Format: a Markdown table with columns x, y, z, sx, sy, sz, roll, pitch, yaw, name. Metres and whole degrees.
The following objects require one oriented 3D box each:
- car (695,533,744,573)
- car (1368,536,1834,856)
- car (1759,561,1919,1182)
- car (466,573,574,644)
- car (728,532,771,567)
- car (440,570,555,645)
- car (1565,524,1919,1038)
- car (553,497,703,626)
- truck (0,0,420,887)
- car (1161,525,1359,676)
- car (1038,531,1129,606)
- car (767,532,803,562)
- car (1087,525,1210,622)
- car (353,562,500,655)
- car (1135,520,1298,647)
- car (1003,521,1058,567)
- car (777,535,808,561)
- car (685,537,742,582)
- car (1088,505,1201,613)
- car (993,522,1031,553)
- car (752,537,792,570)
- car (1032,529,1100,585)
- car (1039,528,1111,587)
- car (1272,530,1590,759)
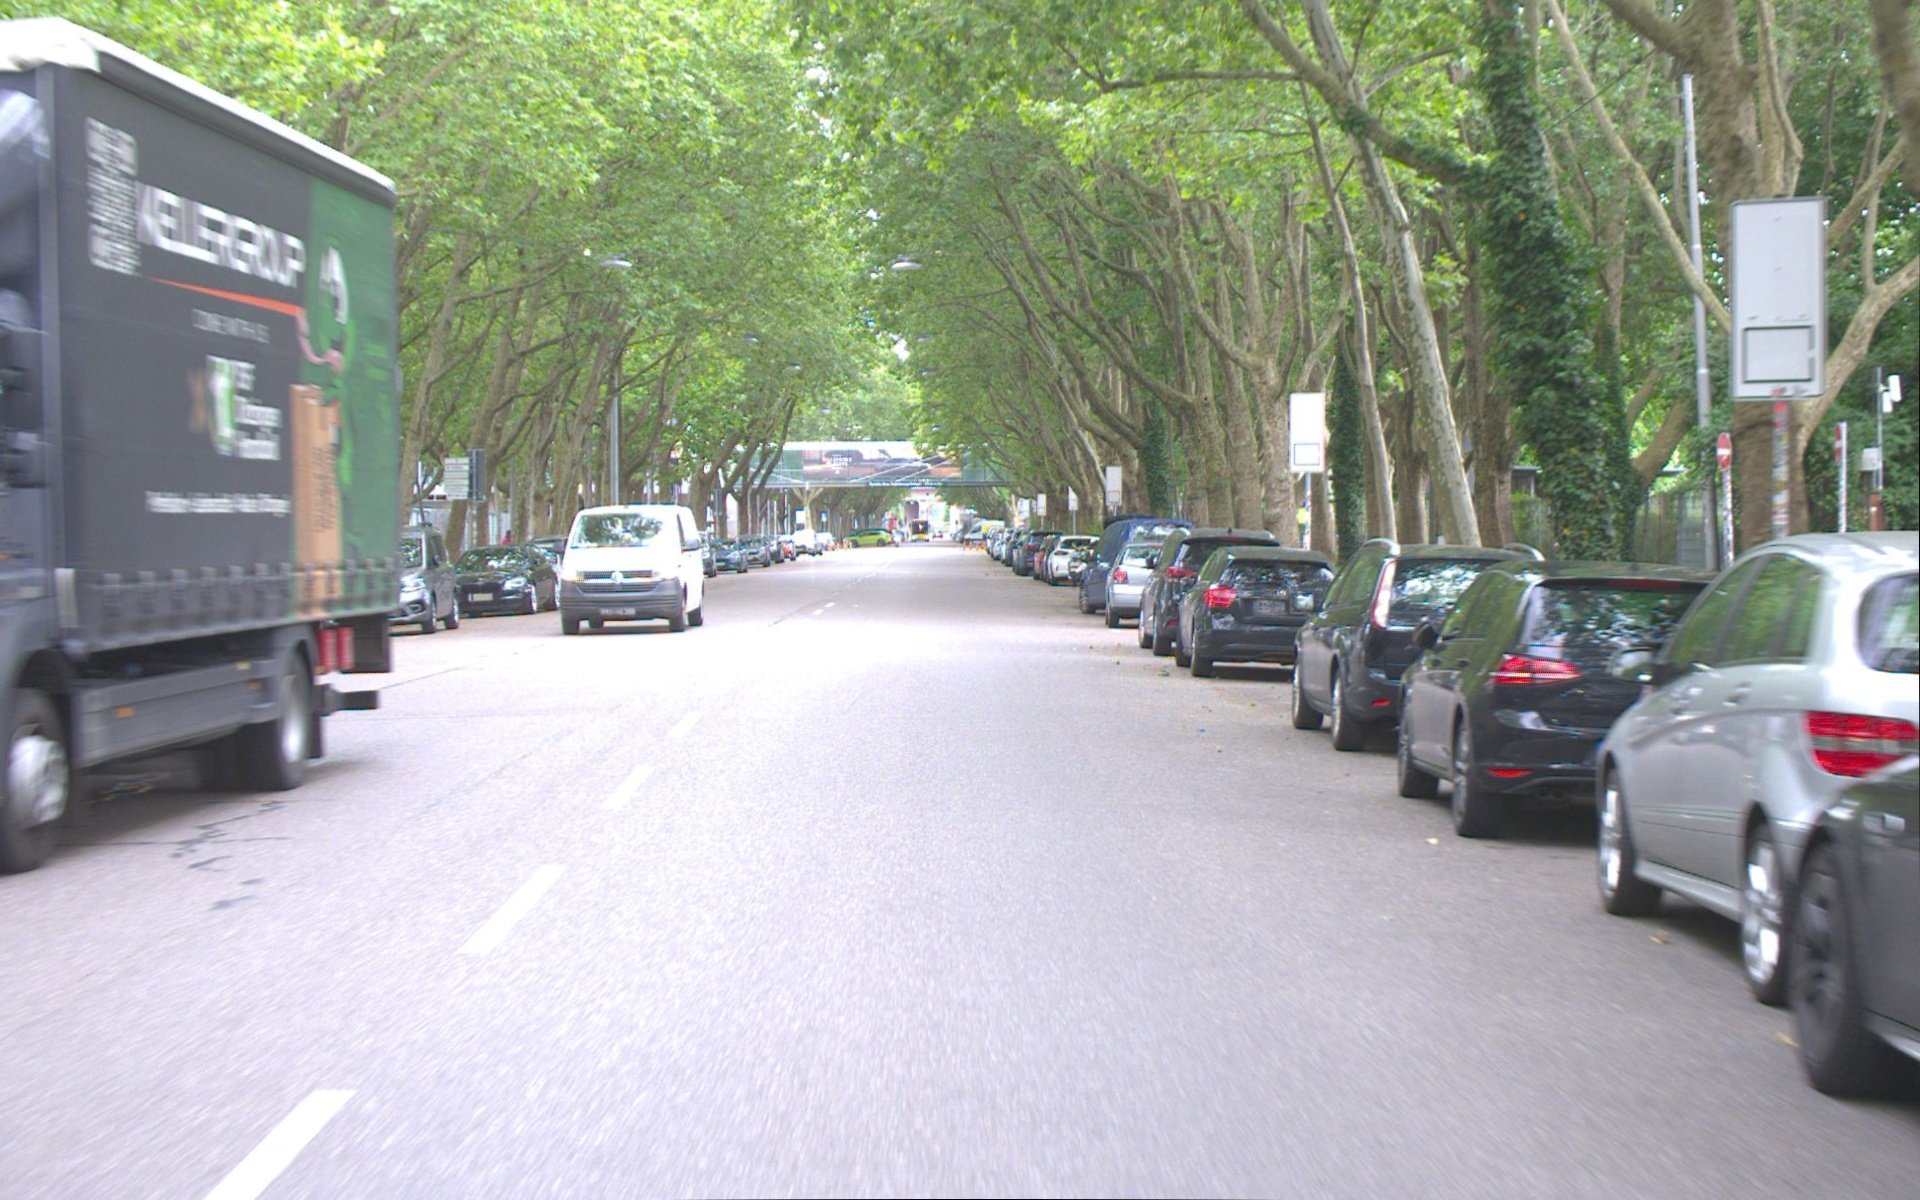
| x | y | z | sx | sy | sz | roll | pitch | yaw | name |
| --- | --- | --- | --- | --- | --- | --- | --- | --- | --- |
| -9.861 | -1.938 | 141.081 | 1.756 | 1.529 | 3.929 | 2 | 1 | -1 | car |
| 3.420 | 0.444 | 19.069 | 1.756 | 1.529 | 3.929 | 2 | 1 | -1 | car |
| 3.234 | 0.721 | 7.636 | 1.756 | 1.485 | 4.417 | 3 | 1 | -1 | car |
| -9.428 | 0.193 | 73.902 | 1.895 | 1.433 | 4.000 | -2 | 0 | -2 | car |
| -9.760 | -2.356 | 159.937 | 1.756 | 1.529 | 3.929 | 2 | 1 | -1 | car |
| -9.356 | 0.165 | 69.740 | 1.895 | 1.433 | 4.000 | -2 | 0 | -2 | car |
| 3.510 | 0.554 | 12.701 | 1.756 | 1.591 | 3.929 | 2 | 1 | -1 | car |
| -5.129 | -0.625 | 53.573 | 1.980 | 1.927 | 4.113 | 0 | 1 | -1 | car |
| -5.157 | -0.816 | 18.400 | 2.641 | 3.888 | 9.540 | -2 | 1 | 2 | truck |
| 3.261 | -0.031 | 38.067 | 1.756 | 1.529 | 3.929 | 2 | 1 | -1 | car |
| 2.661 | -0.696 | 74.932 | 1.756 | 1.529 | 3.929 | 2 | 1 | -1 | car |
| -9.539 | -2.884 | 187.336 | 1.756 | 1.529 | 3.929 | 2 | 1 | -1 | car |
| 3.138 | -0.464 | 57.927 | 1.756 | 1.529 | 3.929 | 2 | 1 | -1 | car |
| -8.731 | 0.151 | 56.584 | 1.895 | 1.433 | 4.000 | -2 | 0 | -2 | car |
| 3.238 | -0.246 | 44.053 | 1.756 | 1.529 | 3.929 | 0 | 2 | -1 | car |
| 2.473 | -1.967 | 121.076 | 1.756 | 1.529 | 3.929 | 2 | 1 | -1 | car |
| -10.641 | -3.314 | 219.013 | 1.756 | 1.529 | 3.929 | 2 | 1 | -1 | car |
| -8.891 | -1.484 | 124.289 | 1.756 | 1.529 | 3.929 | 2 | 1 | -1 | car |
| 3.459 | -0.809 | 64.960 | 1.756 | 1.809 | 3.930 | -4 | 2 | 0 | car |
| 2.669 | -3.202 | 177.033 | 1.756 | 1.529 | 3.929 | 2 | 1 | -1 | car |
| -9.298 | -2.303 | 170.269 | 1.756 | 1.529 | 3.929 | 2 | 1 | -1 | car |
| 3.048 | -1.245 | 99.454 | 1.756 | 1.529 | 3.929 | -2 | 1 | -1 | car |
| 3.124 | -1.184 | 94.043 | 1.756 | 1.529 | 3.929 | -2 | 1 | -1 | car |
| 3.449 | 0.273 | 25.849 | 1.756 | 1.529 | 3.929 | 2 | 1 | -1 | car |
